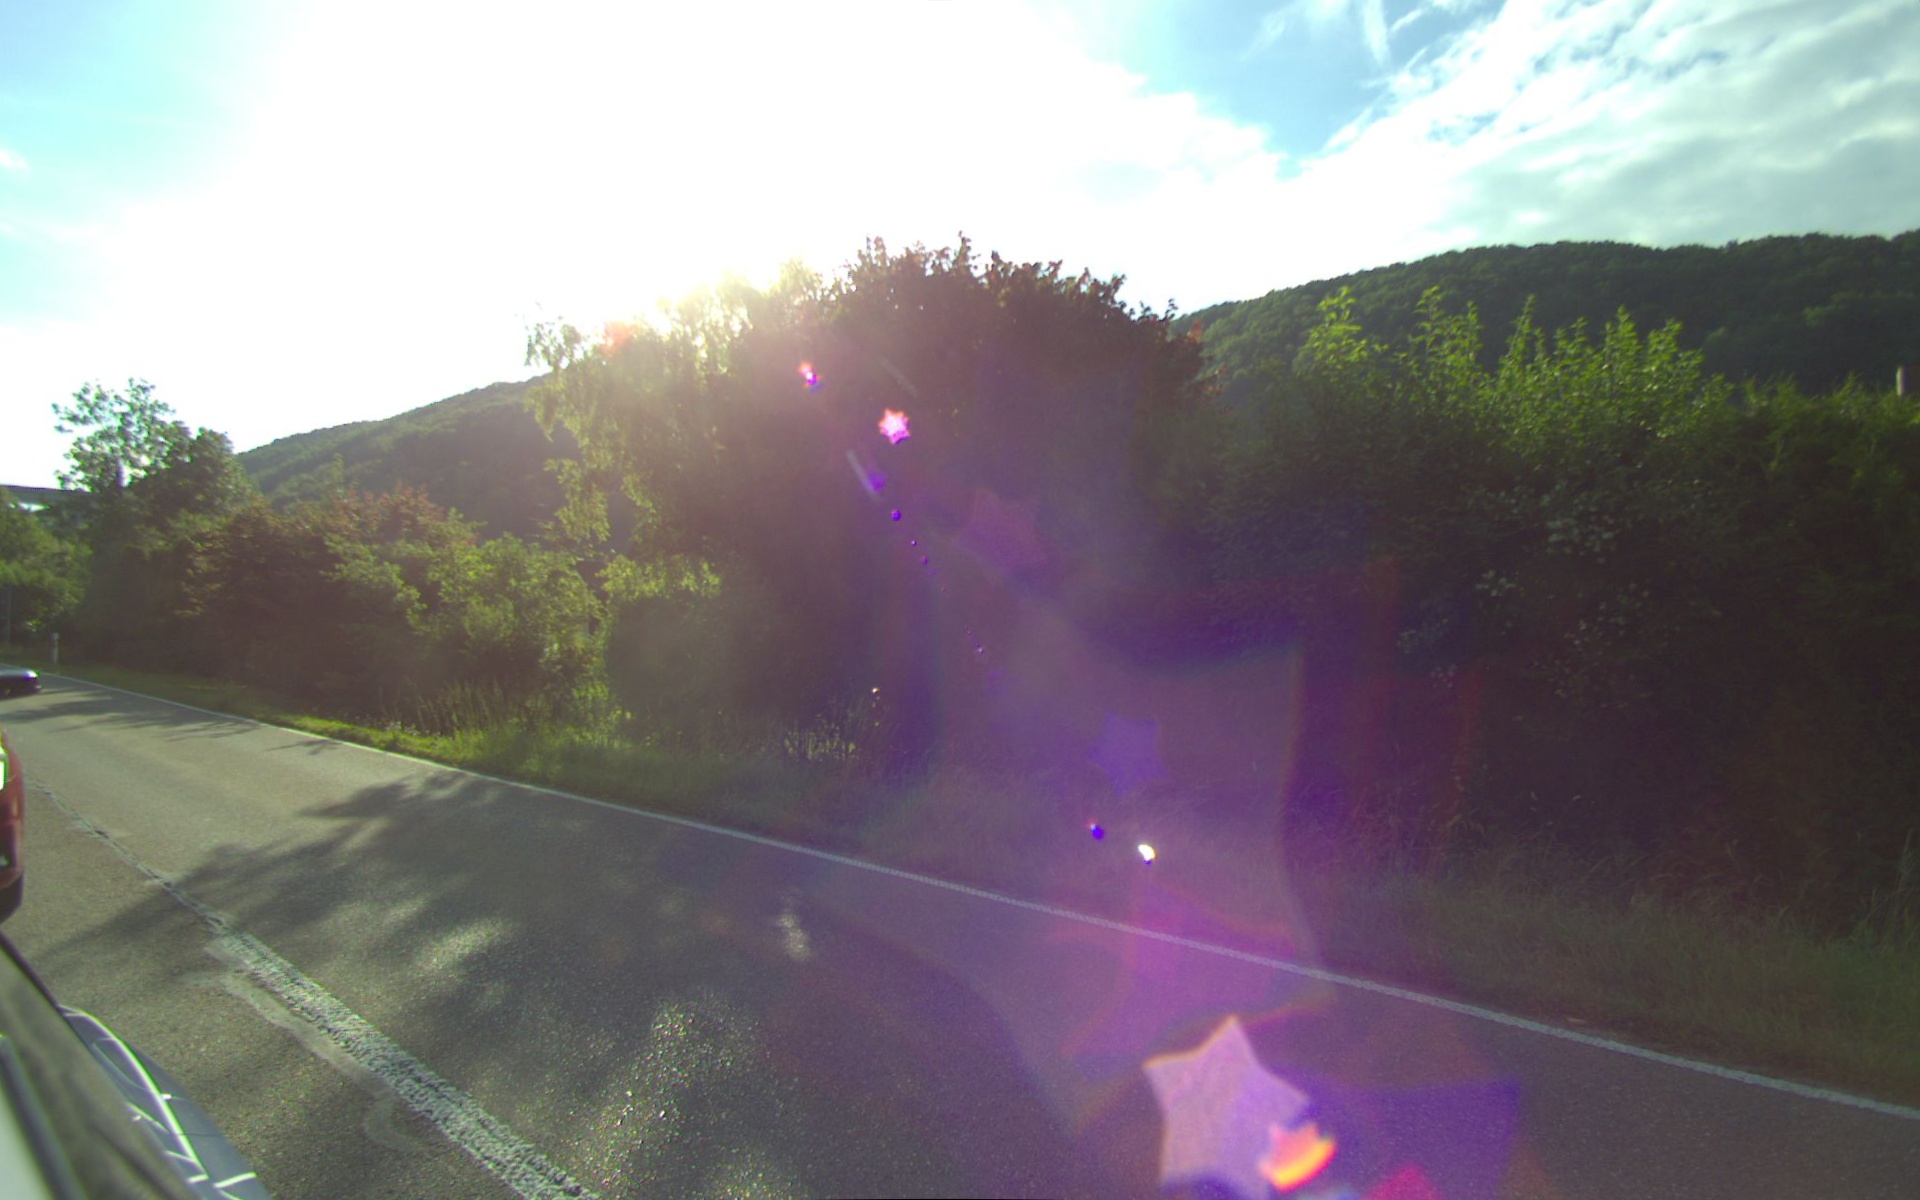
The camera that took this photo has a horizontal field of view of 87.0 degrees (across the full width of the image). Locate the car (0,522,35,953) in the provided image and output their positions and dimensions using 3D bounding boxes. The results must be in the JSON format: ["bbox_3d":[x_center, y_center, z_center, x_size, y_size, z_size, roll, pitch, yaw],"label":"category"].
[{"bbox_3d":[-6.175,0.625,5.137,4.287,1.824,1.730,-1,1,42],"label":"car"}]
